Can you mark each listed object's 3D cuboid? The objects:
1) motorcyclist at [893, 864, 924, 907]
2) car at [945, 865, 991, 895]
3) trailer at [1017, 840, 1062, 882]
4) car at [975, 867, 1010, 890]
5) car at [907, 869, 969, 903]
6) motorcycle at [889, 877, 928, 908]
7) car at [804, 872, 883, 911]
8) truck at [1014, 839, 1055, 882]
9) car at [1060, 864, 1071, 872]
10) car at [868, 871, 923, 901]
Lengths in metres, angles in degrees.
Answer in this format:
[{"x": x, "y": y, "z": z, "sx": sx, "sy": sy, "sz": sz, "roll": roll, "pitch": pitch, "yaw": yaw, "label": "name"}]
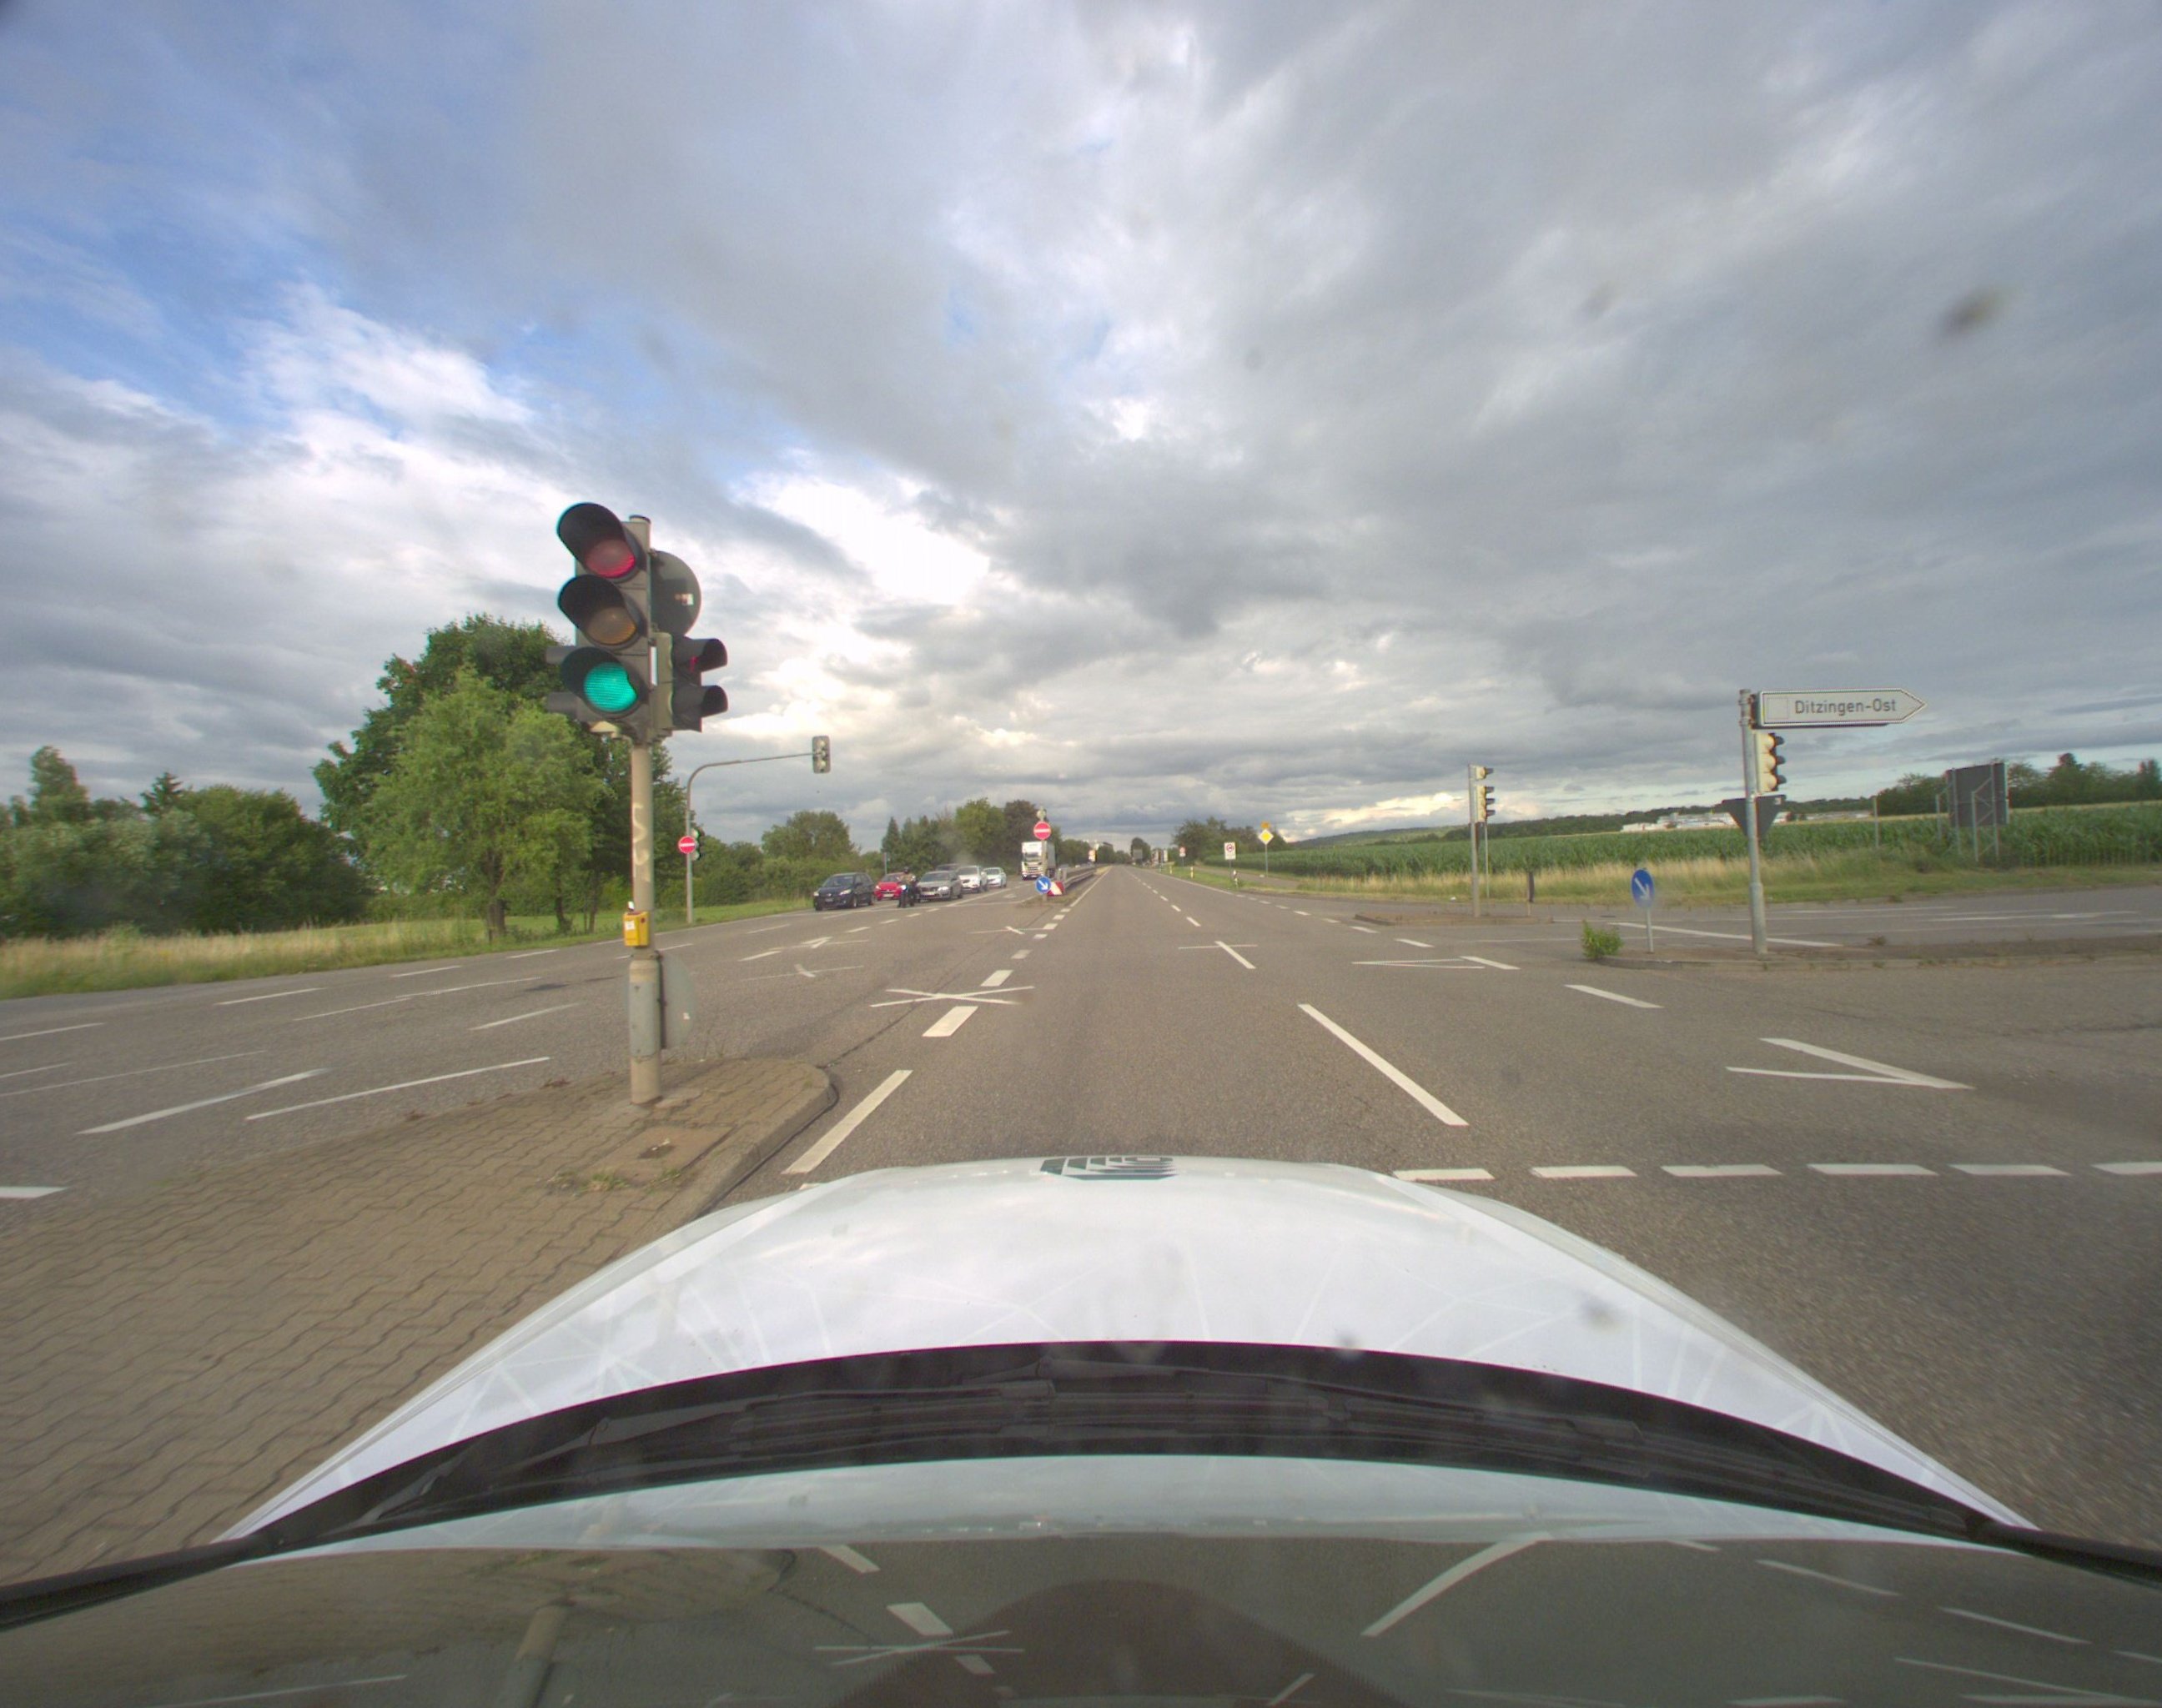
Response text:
[{"x": -7.217, "y": 1.301, "z": 34.154, "sx": 0.912, "sy": 1.709, "sz": 1.277, "roll": -3, "pitch": -1, "yaw": 3, "label": "motorcyclist"}, {"x": -6.672, "y": 1.499, "z": 48.674, "sx": 1.900, "sy": 1.610, "sz": 4.407, "roll": -2, "pitch": -1, "yaw": 2, "label": "car"}, {"x": -4.452, "y": 0.784, "z": 91.358, "sx": 3.451, "sy": 4.150, "sz": 13.924, "roll": -4, "pitch": -1, "yaw": 2, "label": "trailer"}, {"x": -6.158, "y": 1.719, "z": 57.075, "sx": 1.782, "sy": 1.444, "sz": 4.162, "roll": -2, "pitch": -1, "yaw": 2, "label": "car"}, {"x": -6.871, "y": 1.520, "z": 39.700, "sx": 1.900, "sy": 1.428, "sz": 5.154, "roll": -2, "pitch": -1, "yaw": 2, "label": "car"}, {"x": -7.213, "y": 1.581, "z": 34.150, "sx": 0.912, "sy": 1.203, "sz": 2.480, "roll": -3, "pitch": -1, "yaw": 3, "label": "motorcycle"}, {"x": -10.684, "y": 1.642, "z": 37.043, "sx": 1.900, "sy": 1.535, "sz": 4.941, "roll": -2, "pitch": -1, "yaw": 2, "label": "car"}, {"x": -4.746, "y": 0.722, "z": 85.010, "sx": 3.461, "sy": 4.150, "sz": 6.053, "roll": -4, "pitch": -1, "yaw": 2, "label": "truck"}, {"x": -2.761, "y": 2.461, "z": 145.527, "sx": 1.782, "sy": 1.386, "sz": 4.162, "roll": -2, "pitch": -1, "yaw": 2, "label": "car"}, {"x": -10.352, "y": 1.751, "z": 45.805, "sx": 1.900, "sy": 1.465, "sz": 4.186, "roll": -2, "pitch": -1, "yaw": 2, "label": "car"}]
